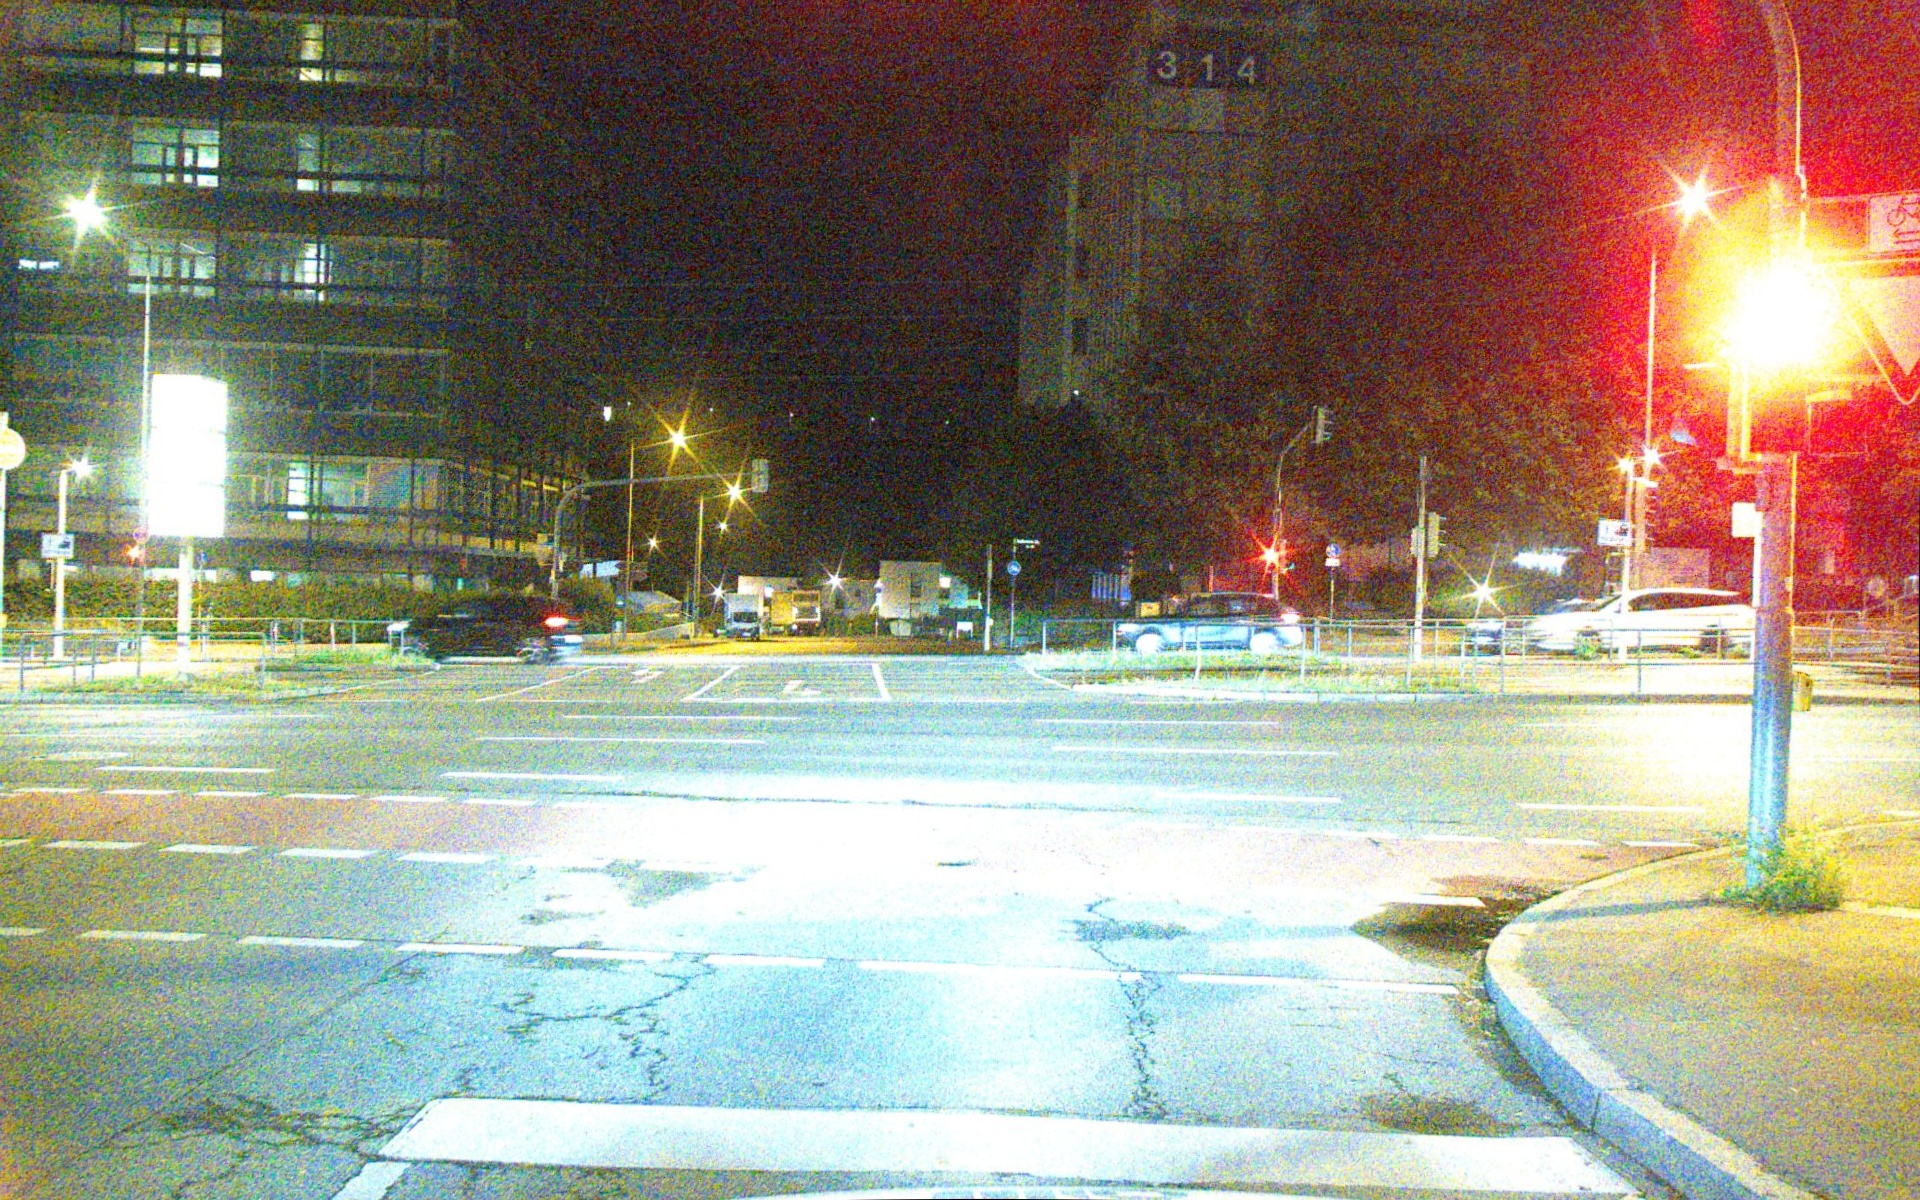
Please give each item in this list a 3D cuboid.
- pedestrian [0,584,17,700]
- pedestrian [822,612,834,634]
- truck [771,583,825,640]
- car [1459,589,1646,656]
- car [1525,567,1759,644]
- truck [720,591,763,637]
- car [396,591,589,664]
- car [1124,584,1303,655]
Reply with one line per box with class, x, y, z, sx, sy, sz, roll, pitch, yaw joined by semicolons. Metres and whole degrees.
pedestrian;-14.761;0.625;24.869;0.663;1.752;0.706;1;-1;25
pedestrian;-11.741;2.013;147.305;0.836;1.945;1.001;2;-1;-18
truck;-14.620;1.031;148.605;3.307;4.927;7.868;2;-1;-17
car;15.205;0.586;42.577;4.146;1.613;1.887;1;-1;1
car;15.122;0.108;36.837;4.476;1.612;1.847;-1;1;1
truck;-15.803;1.024;119.384;2.377;3.143;6.414;2;-1;-14
car;-10.668;0.616;37.930;3.906;1.612;1.803;0;0;-1
car;6.096;0.487;40.187;4.145;1.613;1.804;1;-1;3
